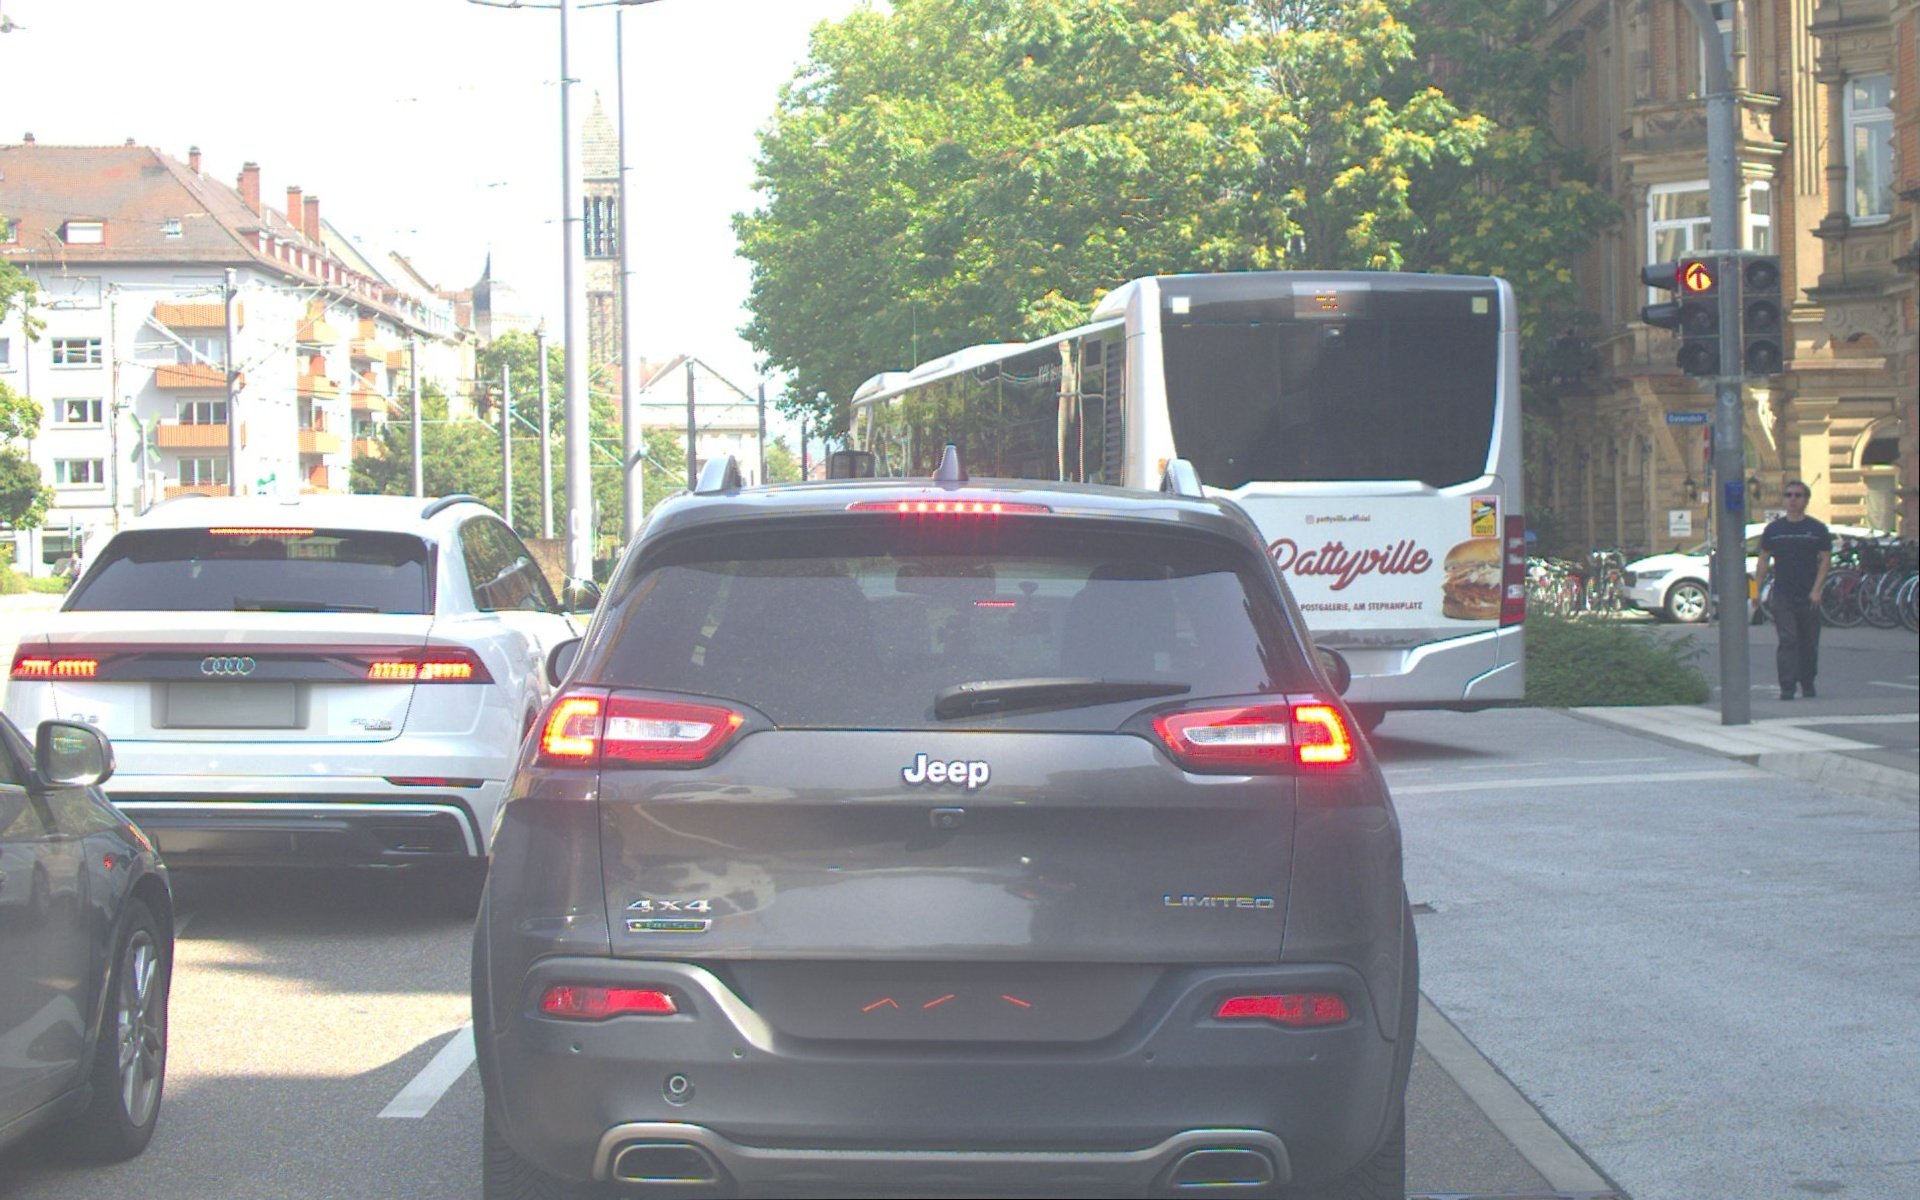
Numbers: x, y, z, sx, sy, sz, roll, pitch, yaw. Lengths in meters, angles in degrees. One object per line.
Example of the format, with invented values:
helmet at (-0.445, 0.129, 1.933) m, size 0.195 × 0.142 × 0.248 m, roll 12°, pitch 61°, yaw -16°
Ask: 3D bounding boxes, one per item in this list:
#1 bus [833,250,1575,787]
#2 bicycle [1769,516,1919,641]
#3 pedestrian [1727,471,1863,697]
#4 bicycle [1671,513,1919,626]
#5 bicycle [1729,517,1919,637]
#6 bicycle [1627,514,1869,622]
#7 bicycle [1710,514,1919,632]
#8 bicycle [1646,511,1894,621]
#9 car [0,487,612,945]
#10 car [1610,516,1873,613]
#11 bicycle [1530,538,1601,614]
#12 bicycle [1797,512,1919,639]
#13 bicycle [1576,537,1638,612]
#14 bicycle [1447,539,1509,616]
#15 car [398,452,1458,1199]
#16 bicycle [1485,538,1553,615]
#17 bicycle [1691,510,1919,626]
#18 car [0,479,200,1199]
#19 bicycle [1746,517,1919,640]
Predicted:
bus at (1.291, -0.547, 26.712) m, size 2.742 × 3.096 × 11.959 m, roll -4°, pitch 1°, yaw -10°
bicycle at (10.771, -0.267, 38.917) m, size 2.993 × 1.366 × 0.871 m, roll -1°, pitch 1°, yaw -1°
pedestrian at (6.622, -0.129, 27.296) m, size 0.898 × 1.735 × 0.768 m, roll -2°, pitch 1°, yaw 7°
bicycle at (10.674, -0.393, 43.825) m, size 3.003 × 1.368 × 0.947 m, roll -1°, pitch 1°, yaw -1°
bicycle at (10.735, -0.289, 40.777) m, size 2.993 × 1.366 × 0.871 m, roll -1°, pitch 1°, yaw -1°
bicycle at (10.570, -0.435, 46.184) m, size 3.003 × 1.368 × 0.947 m, roll -1°, pitch 1°, yaw -1°
bicycle at (10.724, -0.344, 41.720) m, size 3.003 × 1.368 × 0.947 m, roll -1°, pitch 1°, yaw -1°
bicycle at (10.621, -0.448, 45.141) m, size 3.003 × 1.368 × 0.947 m, roll -1°, pitch 1°, yaw -1°
car at (-2.621, 0.368, 14.529) m, size 1.902 × 1.646 × 4.309 m, roll 0°, pitch 1°, yaw 0°
car at (13.047, -0.607, 57.488) m, size 3.931 × 1.515 × 1.683 m, roll -1°, pitch 1°, yaw -7°
bicycle at (10.281, -0.427, 58.474) m, size 0.763 × 1.249 × 3.014 m, roll -1°, pitch 1°, yaw 2°
bicycle at (10.873, -0.294, 38.010) m, size 2.993 × 1.366 × 0.871 m, roll -1°, pitch 1°, yaw -1°
bicycle at (11.081, -0.451, 58.907) m, size 0.658 × 1.245 × 2.412 m, roll -1°, pitch 1°, yaw 2°
bicycle at (8.792, -0.400, 58.462) m, size 0.649 × 1.249 × 3.014 m, roll -1°, pitch 1°, yaw 2°
car at (-0.037, 0.527, 8.132) m, size 1.832 × 1.646 × 4.308 m, roll 0°, pitch 1°, yaw 1°
bicycle at (9.492, -0.411, 58.460) m, size 0.732 × 1.249 × 3.014 m, roll -1°, pitch 1°, yaw 2°
bicycle at (10.723, -0.409, 42.814) m, size 3.003 × 1.368 × 0.947 m, roll -1°, pitch 1°, yaw -1°
car at (-2.820, 0.560, 6.721) m, size 1.747 × 1.609 × 4.309 m, roll 0°, pitch 1°, yaw 0°
bicycle at (10.722, -0.267, 39.830) m, size 2.993 × 1.366 × 0.871 m, roll -1°, pitch 1°, yaw -1°
